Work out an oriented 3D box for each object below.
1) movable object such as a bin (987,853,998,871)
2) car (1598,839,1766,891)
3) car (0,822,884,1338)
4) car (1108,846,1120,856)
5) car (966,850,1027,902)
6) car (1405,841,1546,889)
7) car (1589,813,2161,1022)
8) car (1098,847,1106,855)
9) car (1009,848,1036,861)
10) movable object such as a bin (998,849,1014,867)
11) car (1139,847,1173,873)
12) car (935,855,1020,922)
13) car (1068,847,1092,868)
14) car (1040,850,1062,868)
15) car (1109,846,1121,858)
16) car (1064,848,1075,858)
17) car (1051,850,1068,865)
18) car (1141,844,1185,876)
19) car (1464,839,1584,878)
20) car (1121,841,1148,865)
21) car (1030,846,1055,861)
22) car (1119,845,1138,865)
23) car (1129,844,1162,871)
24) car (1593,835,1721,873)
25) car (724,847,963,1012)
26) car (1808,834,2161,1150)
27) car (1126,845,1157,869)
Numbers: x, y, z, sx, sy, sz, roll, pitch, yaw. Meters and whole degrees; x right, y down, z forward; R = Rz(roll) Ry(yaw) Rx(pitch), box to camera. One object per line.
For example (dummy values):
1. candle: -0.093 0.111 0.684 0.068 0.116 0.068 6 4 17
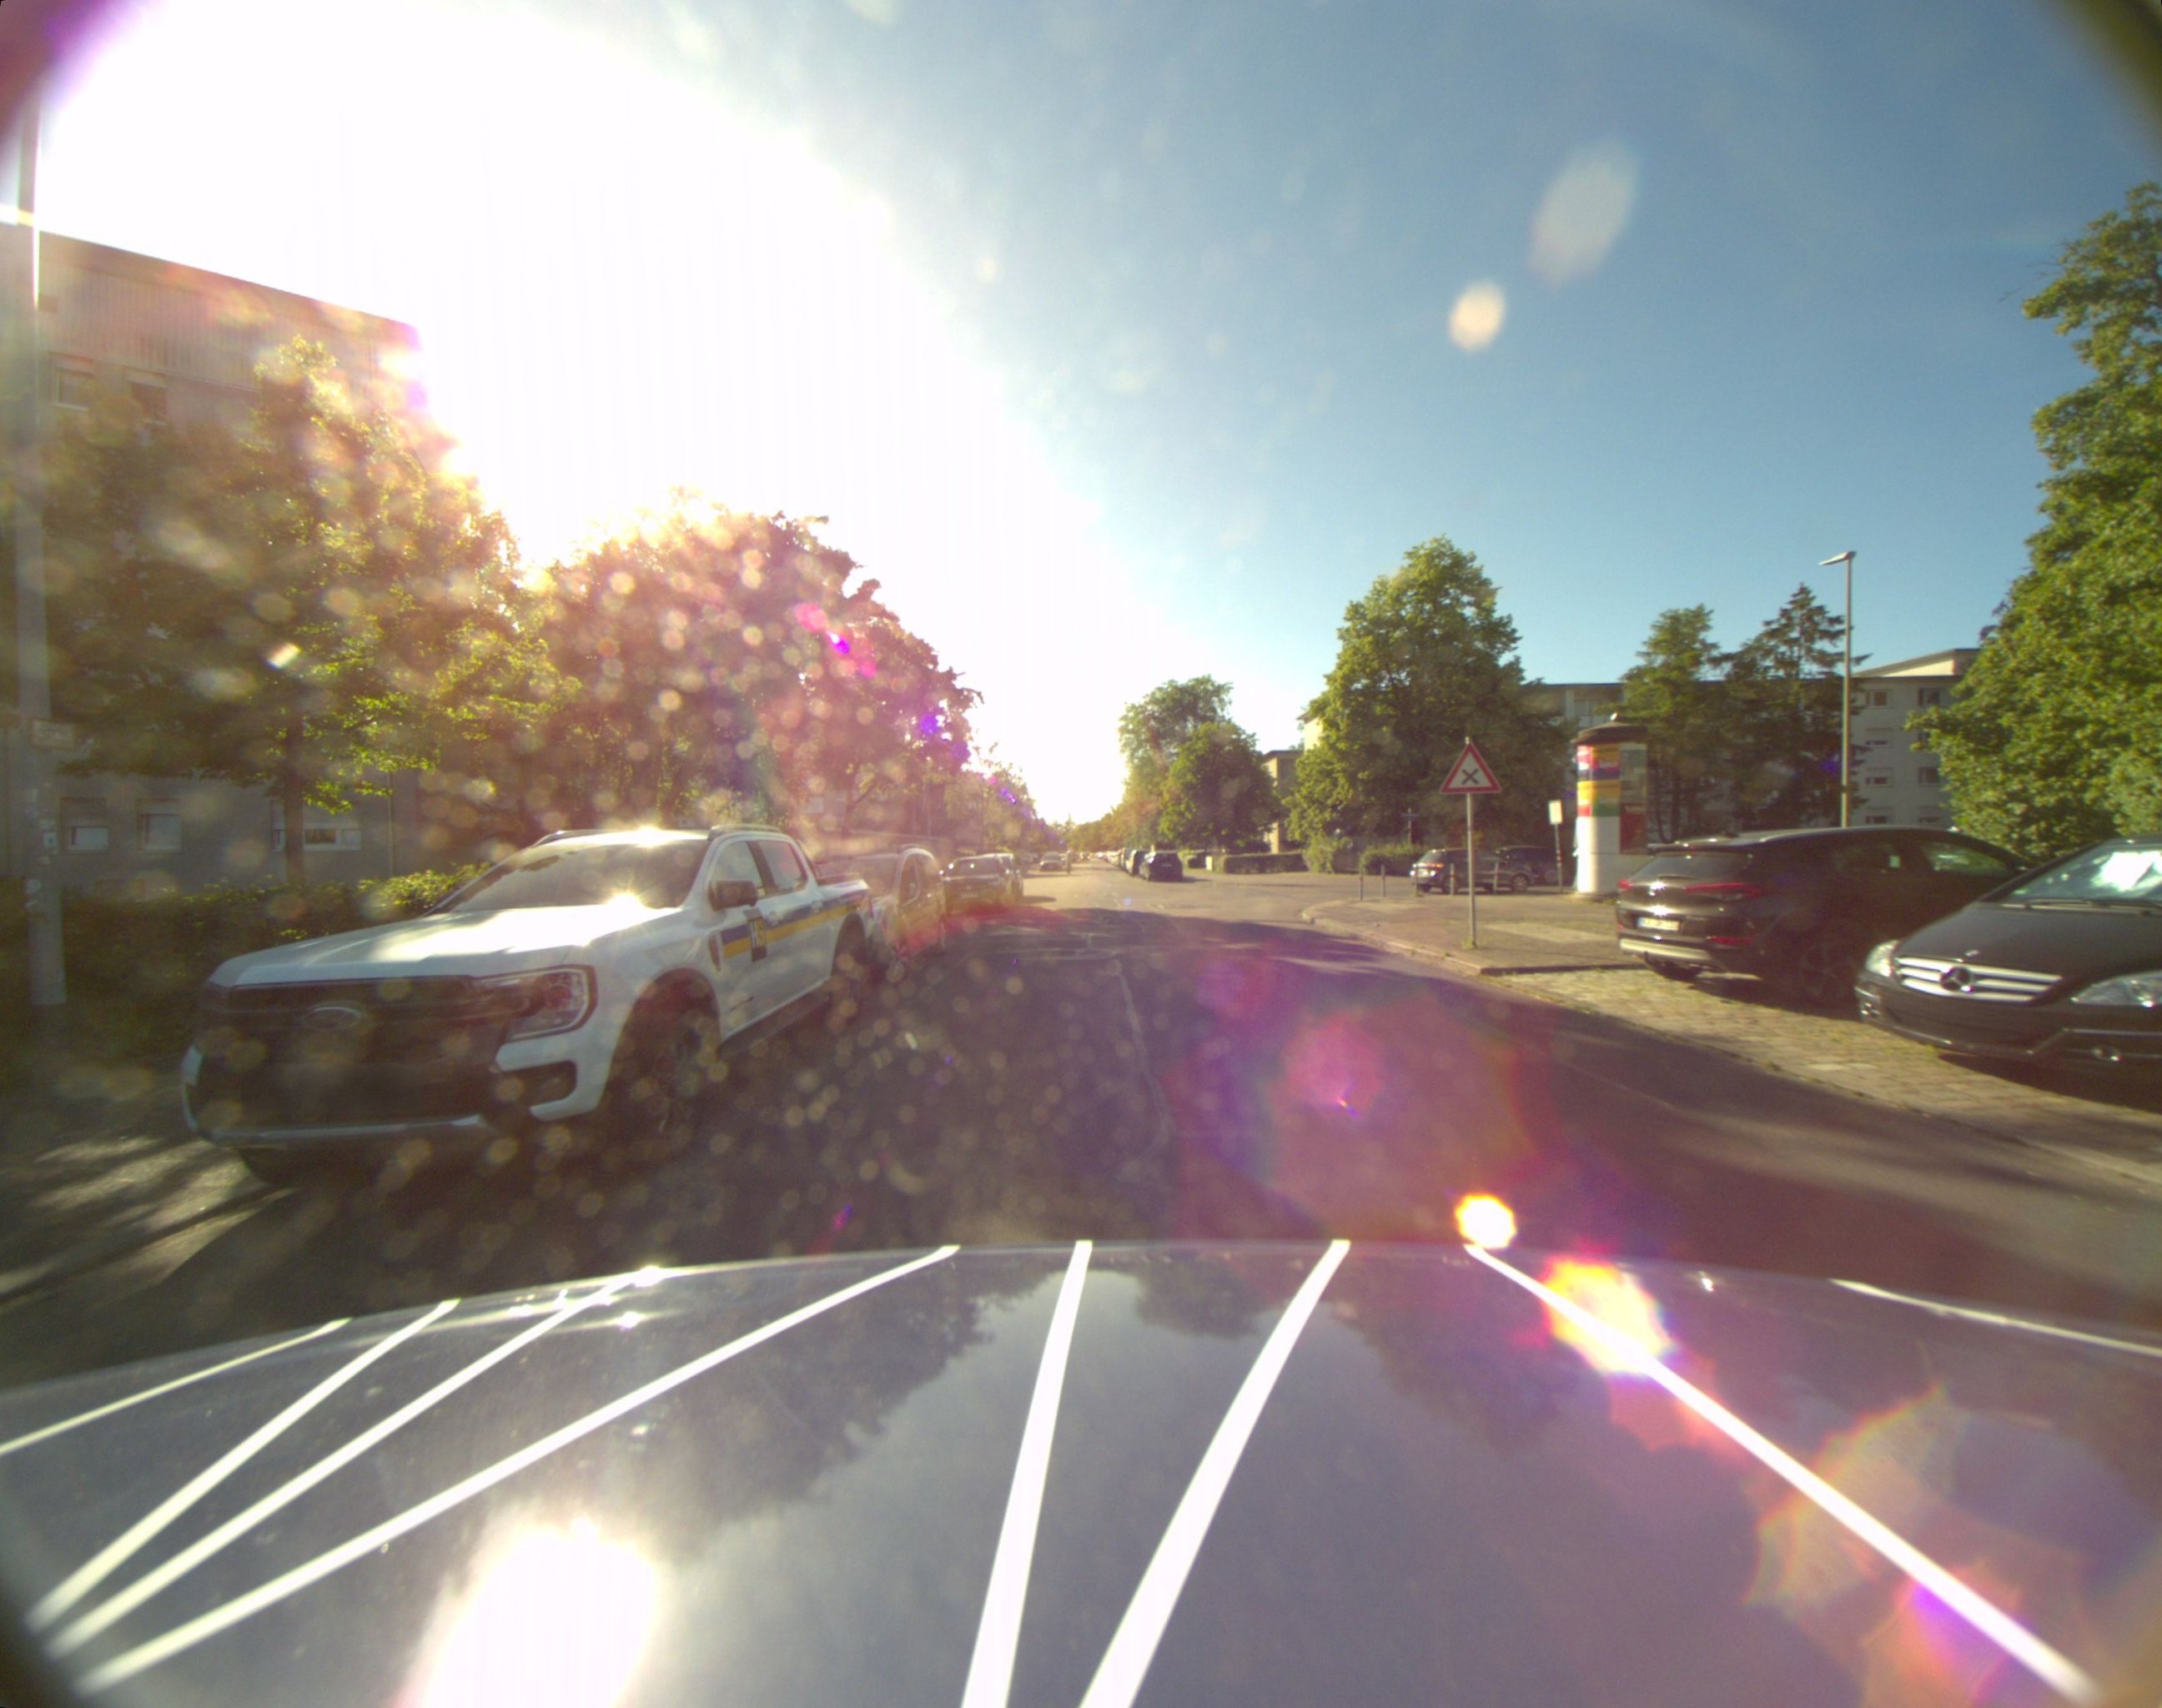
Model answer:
1. movable object such as a bin: -7.216 0.638 61.865 0.754 1.434 0.848 0 2 -2
2. car: 17.399 0.298 22.111 3.528 1.453 1.737 0 1 -2
3. car: -3.082 0.848 5.487 1.911 1.829 5.274 -3 0 -1
4. car: 5.106 -0.468 117.735 1.632 1.619 3.555 1 0 0
5. car: -2.899 0.701 26.886 1.773 1.601 4.370 0 2 -1
6. car: 13.216 0.334 25.532 4.002 1.547 1.653 0 2 -11
7. car: 7.905 0.543 7.753 4.198 1.647 1.846 -3 2 -2
8. car: 4.679 -0.625 169.542 1.632 1.619 3.555 1 0 0
9. car: -7.849 0.103 102.109 3.505 1.499 1.601 -3 2 -6
10. movable object such as a bin: -6.125 0.323 62.165 1.278 1.434 1.179 0 2 -2
11. car: 4.405 0.342 44.995 1.627 1.428 3.653 1 0 0
12. car: -2.845 0.906 21.714 1.809 1.585 4.022 -3 1 -1
13. car: -0.099 0.248 59.220 1.732 1.586 3.812 -2 0 0
14. car: -2.582 0.443 66.544 1.732 1.462 3.812 -2 0 0
15. car: 5.005 -0.322 112.919 1.632 1.619 3.555 1 0 0
16. car: -1.798 -0.207 122.907 1.732 1.586 3.812 -2 0 0
17. car: -2.491 0.377 88.621 1.732 1.586 3.812 -2 0 0
18. car: 4.253 0.300 39.978 1.784 1.564 4.423 -1 0 0
19. car: 18.128 0.157 31.205 3.925 1.534 1.746 0 1 -2
20. car: 4.438 -0.087 63.671 1.909 1.930 4.510 1 0 1
21. car: -5.996 -0.071 118.084 3.777 2.002 1.810 -3 2 -1
22. car: 4.960 0.082 79.227 1.732 1.941 3.812 1 0 0
23. car: 4.170 0.227 49.783 1.817 1.672 3.648 1 1 0
24. car: 23.466 -0.013 31.040 3.925 1.534 1.746 0 1 -2
25. car: -3.071 0.871 10.960 1.838 1.780 4.555 -3 0 1
26. car: 7.489 0.652 4.829 3.997 1.523 1.831 -3 0 -2
27. car: 4.356 0.221 55.312 1.732 1.630 4.168 1 0 -2
